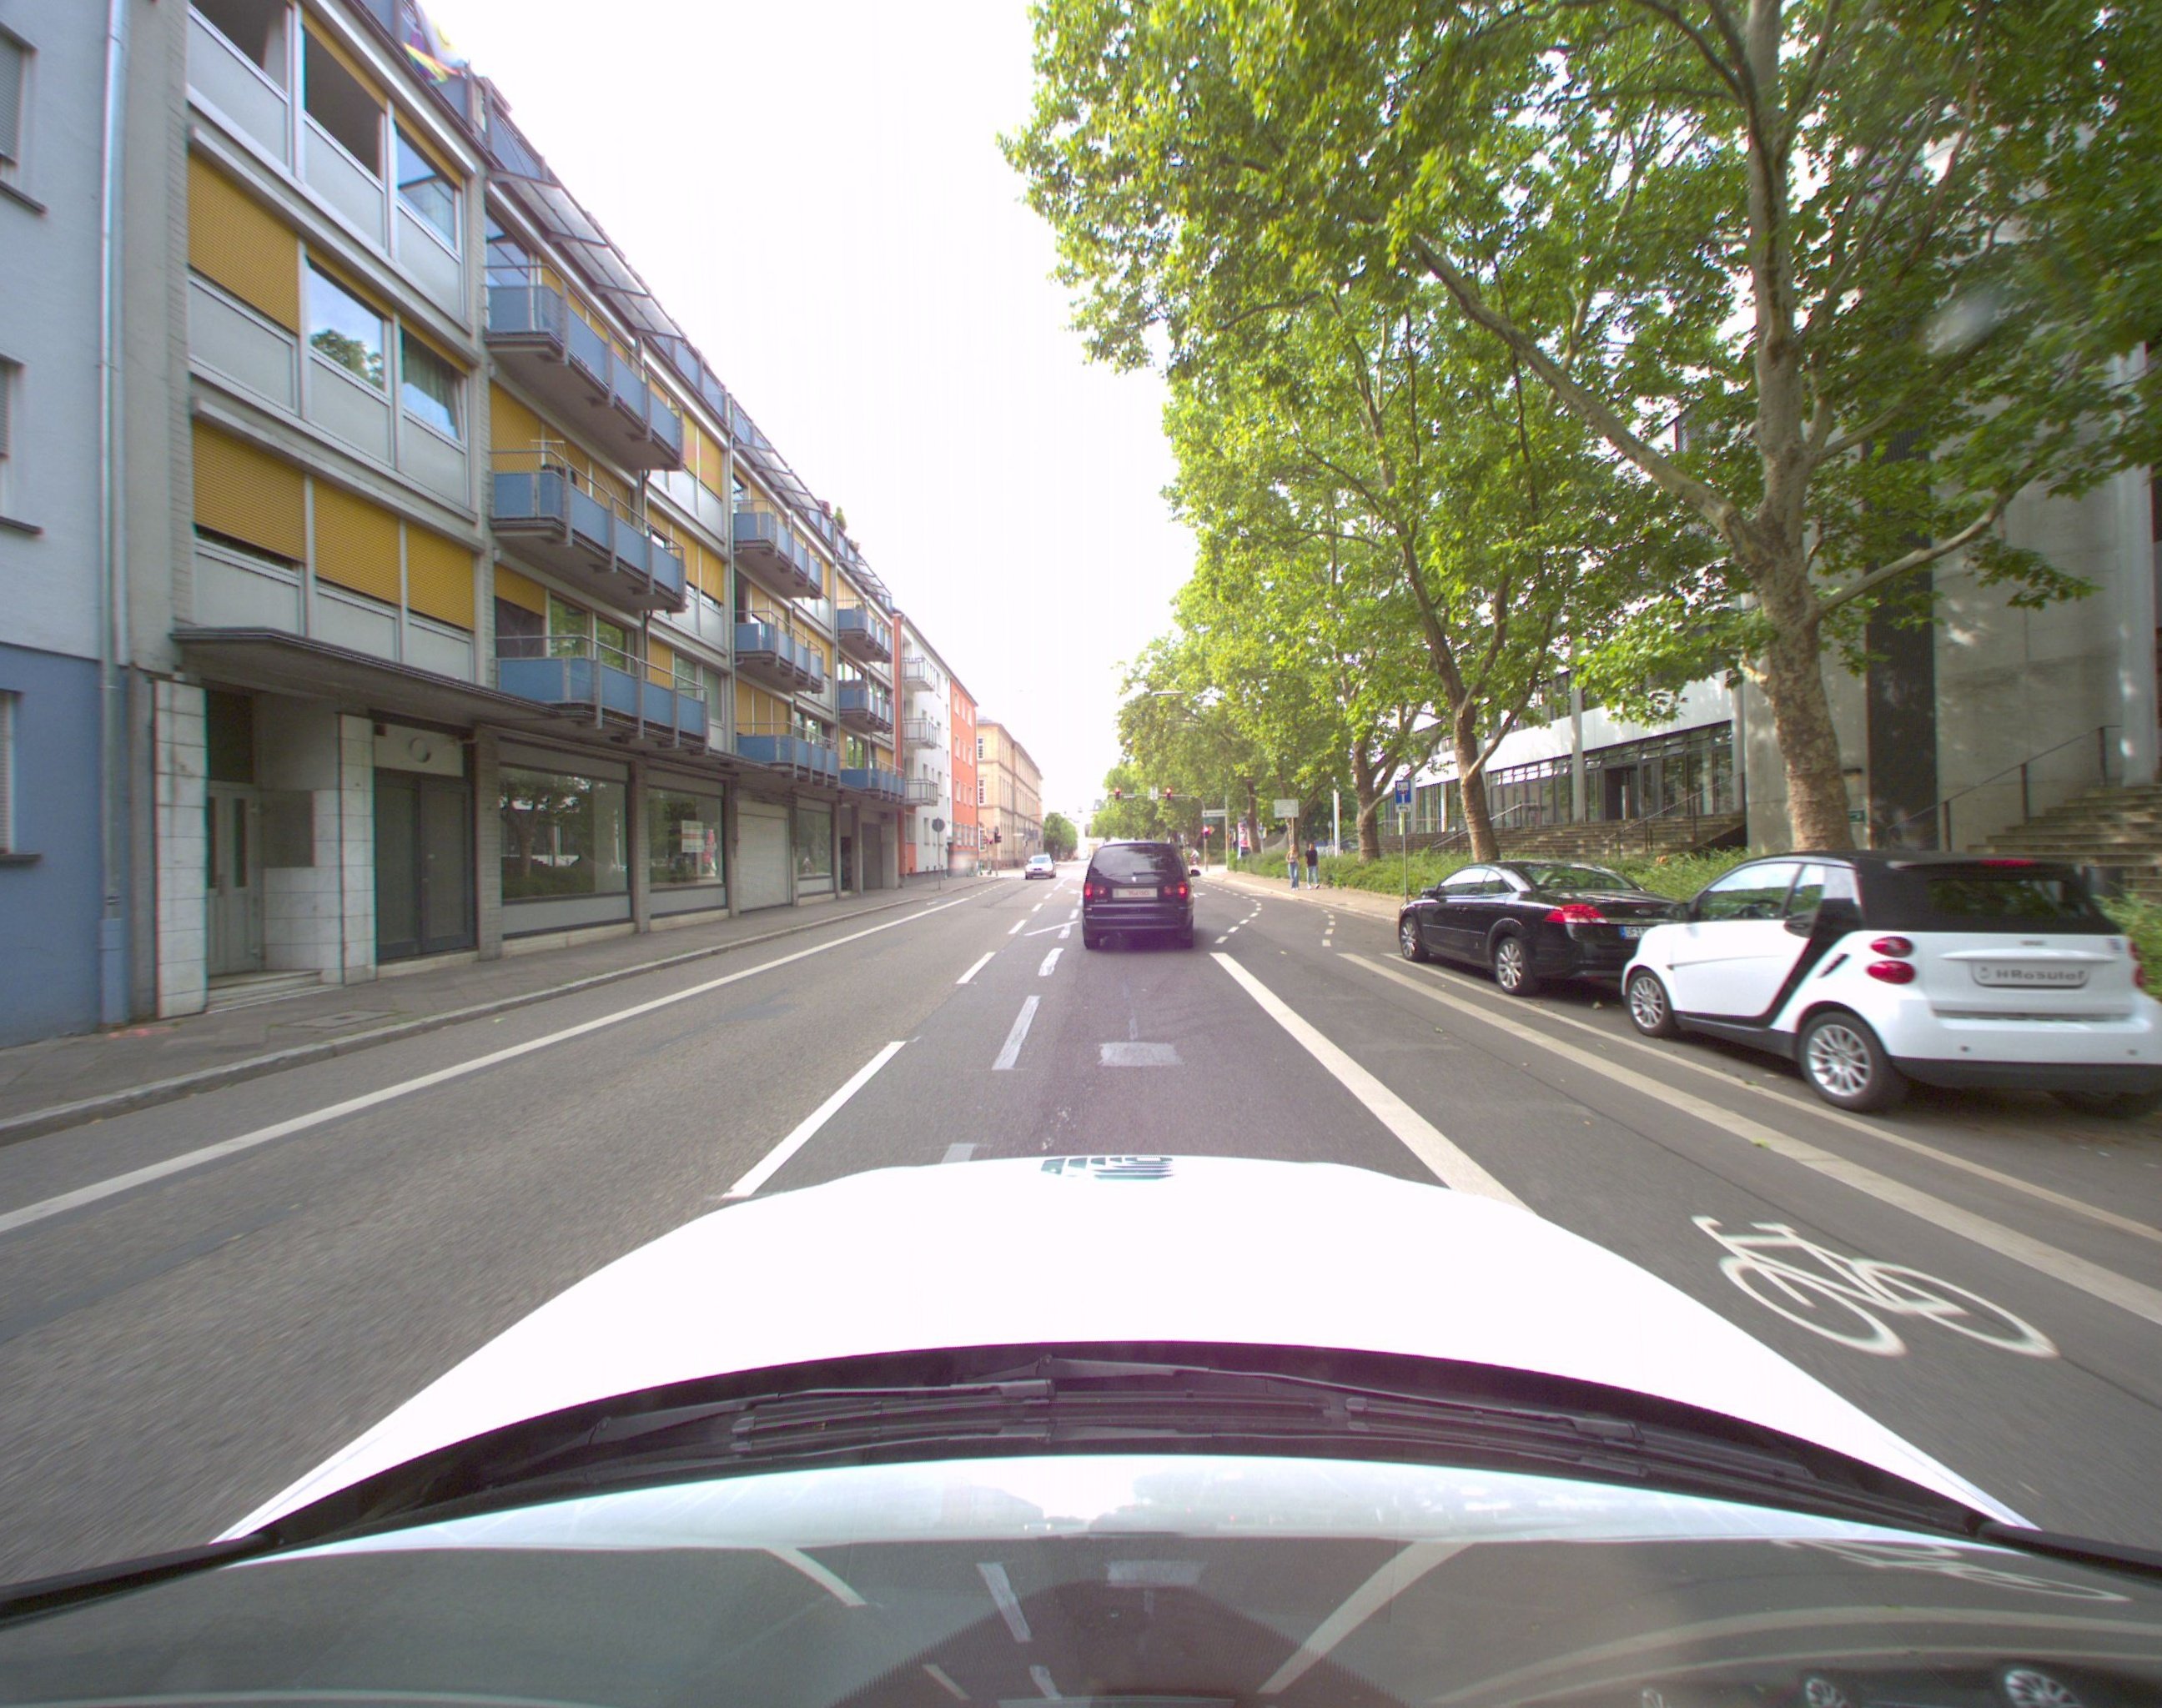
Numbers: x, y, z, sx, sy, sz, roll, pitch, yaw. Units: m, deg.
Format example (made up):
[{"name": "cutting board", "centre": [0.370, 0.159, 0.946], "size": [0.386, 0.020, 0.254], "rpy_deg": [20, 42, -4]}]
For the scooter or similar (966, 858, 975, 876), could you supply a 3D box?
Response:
[{"name": "scooter or similar", "centre": [-7.233, 0.860, 53.408], "size": [0.376, 1.184, 1.390], "rpy_deg": [-1, -2, 2]}]

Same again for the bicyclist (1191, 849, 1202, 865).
[{"name": "bicyclist", "centre": [10.537, 0.259, 74.190], "size": [0.912, 1.493, 0.626], "rpy_deg": [-1, 0, -3]}]

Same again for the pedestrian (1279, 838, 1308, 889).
[{"name": "pedestrian", "centre": [7.773, 0.354, 29.808], "size": [0.708, 1.783, 1.033], "rpy_deg": [-3, -1, 0]}]

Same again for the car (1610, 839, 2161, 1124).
[{"name": "car", "centre": [5.286, 0.690, 5.773], "size": [1.528, 1.543, 2.602], "rpy_deg": [0, 0, 4]}]

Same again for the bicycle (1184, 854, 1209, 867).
[{"name": "bicycle", "centre": [10.508, 0.567, 74.184], "size": [2.229, 1.094, 0.627], "rpy_deg": [-1, 0, -4]}]

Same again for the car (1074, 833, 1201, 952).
[{"name": "car", "centre": [1.155, 0.566, 14.423], "size": [1.863, 1.745, 4.584], "rpy_deg": [-1, 0, 8]}]

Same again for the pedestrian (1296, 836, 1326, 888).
[{"name": "pedestrian", "centre": [8.395, 0.287, 29.717], "size": [0.712, 1.800, 1.033], "rpy_deg": [-3, -1, 0]}]

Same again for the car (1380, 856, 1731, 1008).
[{"name": "car", "centre": [5.328, 0.744, 9.954], "size": [1.692, 1.425, 4.420], "rpy_deg": [0, 0, -1]}]

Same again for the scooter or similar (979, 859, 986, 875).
[{"name": "scooter or similar", "centre": [-7.208, 0.926, 59.627], "size": [0.377, 1.147, 1.141], "rpy_deg": [-1, -2, -2]}]

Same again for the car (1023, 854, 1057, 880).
[{"name": "car", "centre": [-2.508, 0.767, 50.779], "size": [1.751, 1.427, 4.099], "rpy_deg": [-3, 0, 1]}]
